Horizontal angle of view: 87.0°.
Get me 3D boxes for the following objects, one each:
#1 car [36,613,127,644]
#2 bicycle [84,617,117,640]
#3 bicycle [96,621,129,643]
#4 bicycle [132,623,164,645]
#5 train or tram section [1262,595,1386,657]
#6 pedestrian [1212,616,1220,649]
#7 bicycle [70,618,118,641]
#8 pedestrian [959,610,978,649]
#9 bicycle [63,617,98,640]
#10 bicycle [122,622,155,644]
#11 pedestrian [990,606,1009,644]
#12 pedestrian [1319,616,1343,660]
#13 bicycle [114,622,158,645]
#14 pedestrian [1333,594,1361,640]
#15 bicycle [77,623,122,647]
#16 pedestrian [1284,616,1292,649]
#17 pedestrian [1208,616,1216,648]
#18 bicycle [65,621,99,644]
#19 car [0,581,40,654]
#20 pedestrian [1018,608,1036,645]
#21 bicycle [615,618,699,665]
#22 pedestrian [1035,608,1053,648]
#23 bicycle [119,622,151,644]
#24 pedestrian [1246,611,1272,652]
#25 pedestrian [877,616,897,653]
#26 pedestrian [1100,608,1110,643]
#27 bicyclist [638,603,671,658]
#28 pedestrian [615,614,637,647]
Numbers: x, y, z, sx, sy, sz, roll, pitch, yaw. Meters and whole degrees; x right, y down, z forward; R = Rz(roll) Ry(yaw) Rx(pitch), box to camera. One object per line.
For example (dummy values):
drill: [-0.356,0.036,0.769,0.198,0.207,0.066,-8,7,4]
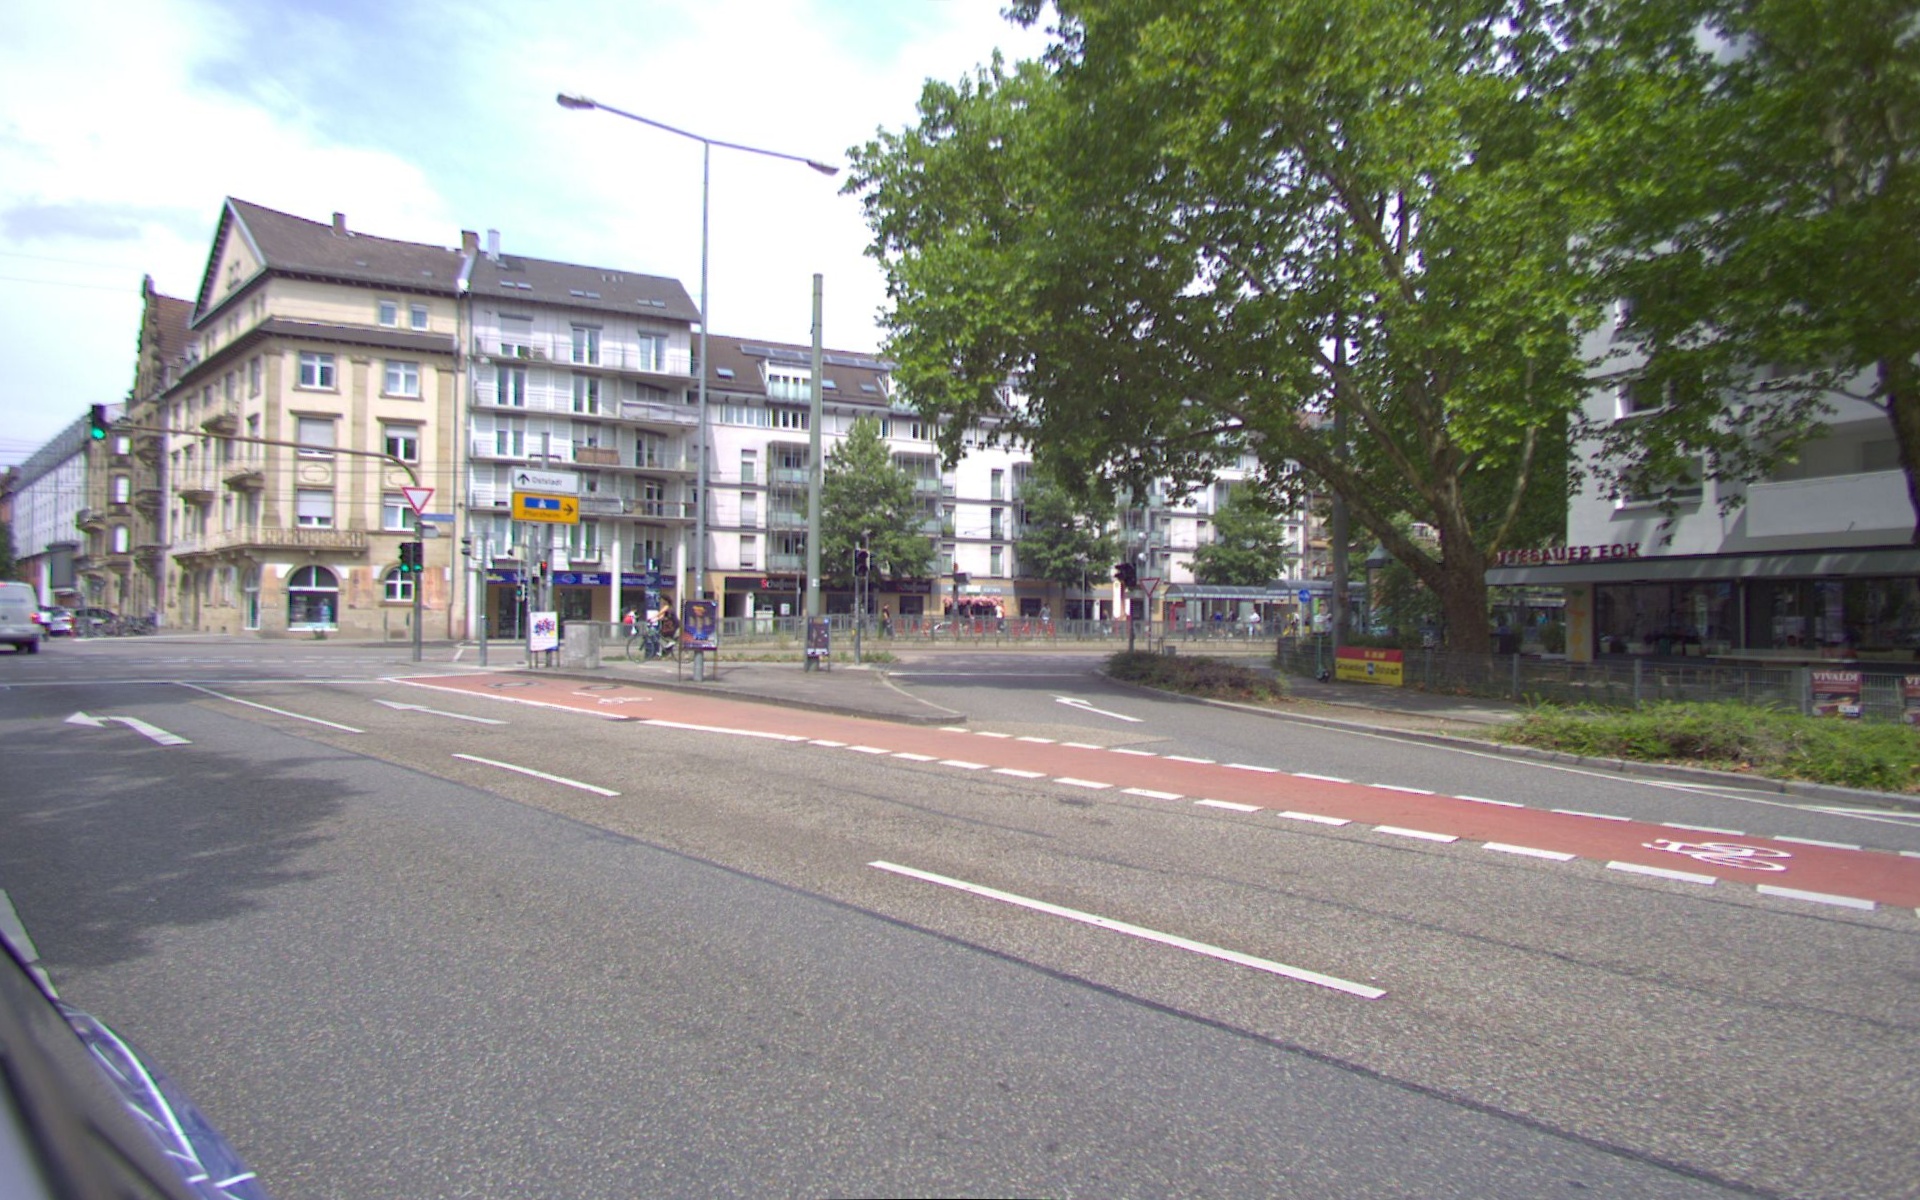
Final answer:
car: [-51.404,1.621,59.316,1.736,1.601,4.033,-3,0,2]
bicycle: [-47.117,1.571,55.463,0.397,1.201,1.329,-2,-1,38]
bicycle: [-47.523,1.808,56.744,0.397,1.201,1.328,-2,-3,40]
bicycle: [-46.158,1.927,57.541,0.397,1.201,1.328,-2,-3,40]
train or tram section: [21.395,1.584,59.306,7.386,3.340,2.374,3,-3,-26]
pedestrian: [15.451,1.961,61.150,0.307,1.969,0.326,2,-2,-34]
bicycle: [-46.196,1.569,54.003,1.844,1.201,0.457,0,-2,-29]
pedestrian: [0.439,1.559,53.585,0.744,2.029,0.763,1,-2,-24]
bicycle: [-48.156,1.575,55.419,0.396,1.201,1.330,-2,0,35]
bicycle: [-45.746,1.837,56.370,0.397,1.201,1.330,-2,0,35]
pedestrian: [2.172,1.381,55.395,0.744,2.029,0.763,1,-2,-24]
pedestrian: [13.985,1.428,38.149,0.497,1.636,0.698,1,-2,-27]
bicycle: [-45.424,1.852,55.803,0.397,1.201,1.807,-3,-1,40]
pedestrian: [14.281,0.637,37.358,0.673,1.648,0.698,1,-2,-27]
bicycle: [-46.756,1.893,54.982,0.397,1.201,1.799,-2,1,38]
pedestrian: [20.148,1.995,62.128,0.307,1.969,0.326,2,-2,-34]
pedestrian: [15.335,1.955,61.610,0.307,1.969,0.326,2,-2,-34]
bicycle: [-48.581,1.796,56.010,0.397,1.201,1.328,-2,0,40]
car: [-27.672,0.504,28.623,4.945,1.951,1.903,-1,-1,41]
pedestrian: [3.716,1.461,56.153,0.744,2.029,0.763,1,-2,-24]
bicycle: [-7.623,1.058,25.482,1.936,1.103,0.629,3,-3,-24]
pedestrian: [4.763,1.594,57.480,0.744,2.267,0.763,1,-2,-24]
bicycle: [-46.226,1.846,56.720,0.397,1.201,1.330,-2,0,35]
pedestrian: [15.118,1.598,51.171,0.858,2.029,0.855,1,-2,-25]
pedestrian: [-3.090,1.454,42.865,0.588,1.564,0.672,2,-2,-27]
pedestrian: [8.370,1.469,58.586,0.363,2.029,0.503,1,-2,-25]
bicyclist: [-7.681,0.765,25.444,0.739,1.352,0.493,1,-2,-24]
pedestrian: [-15.601,1.421,47.278,0.824,1.564,0.871,1,-2,-25]
